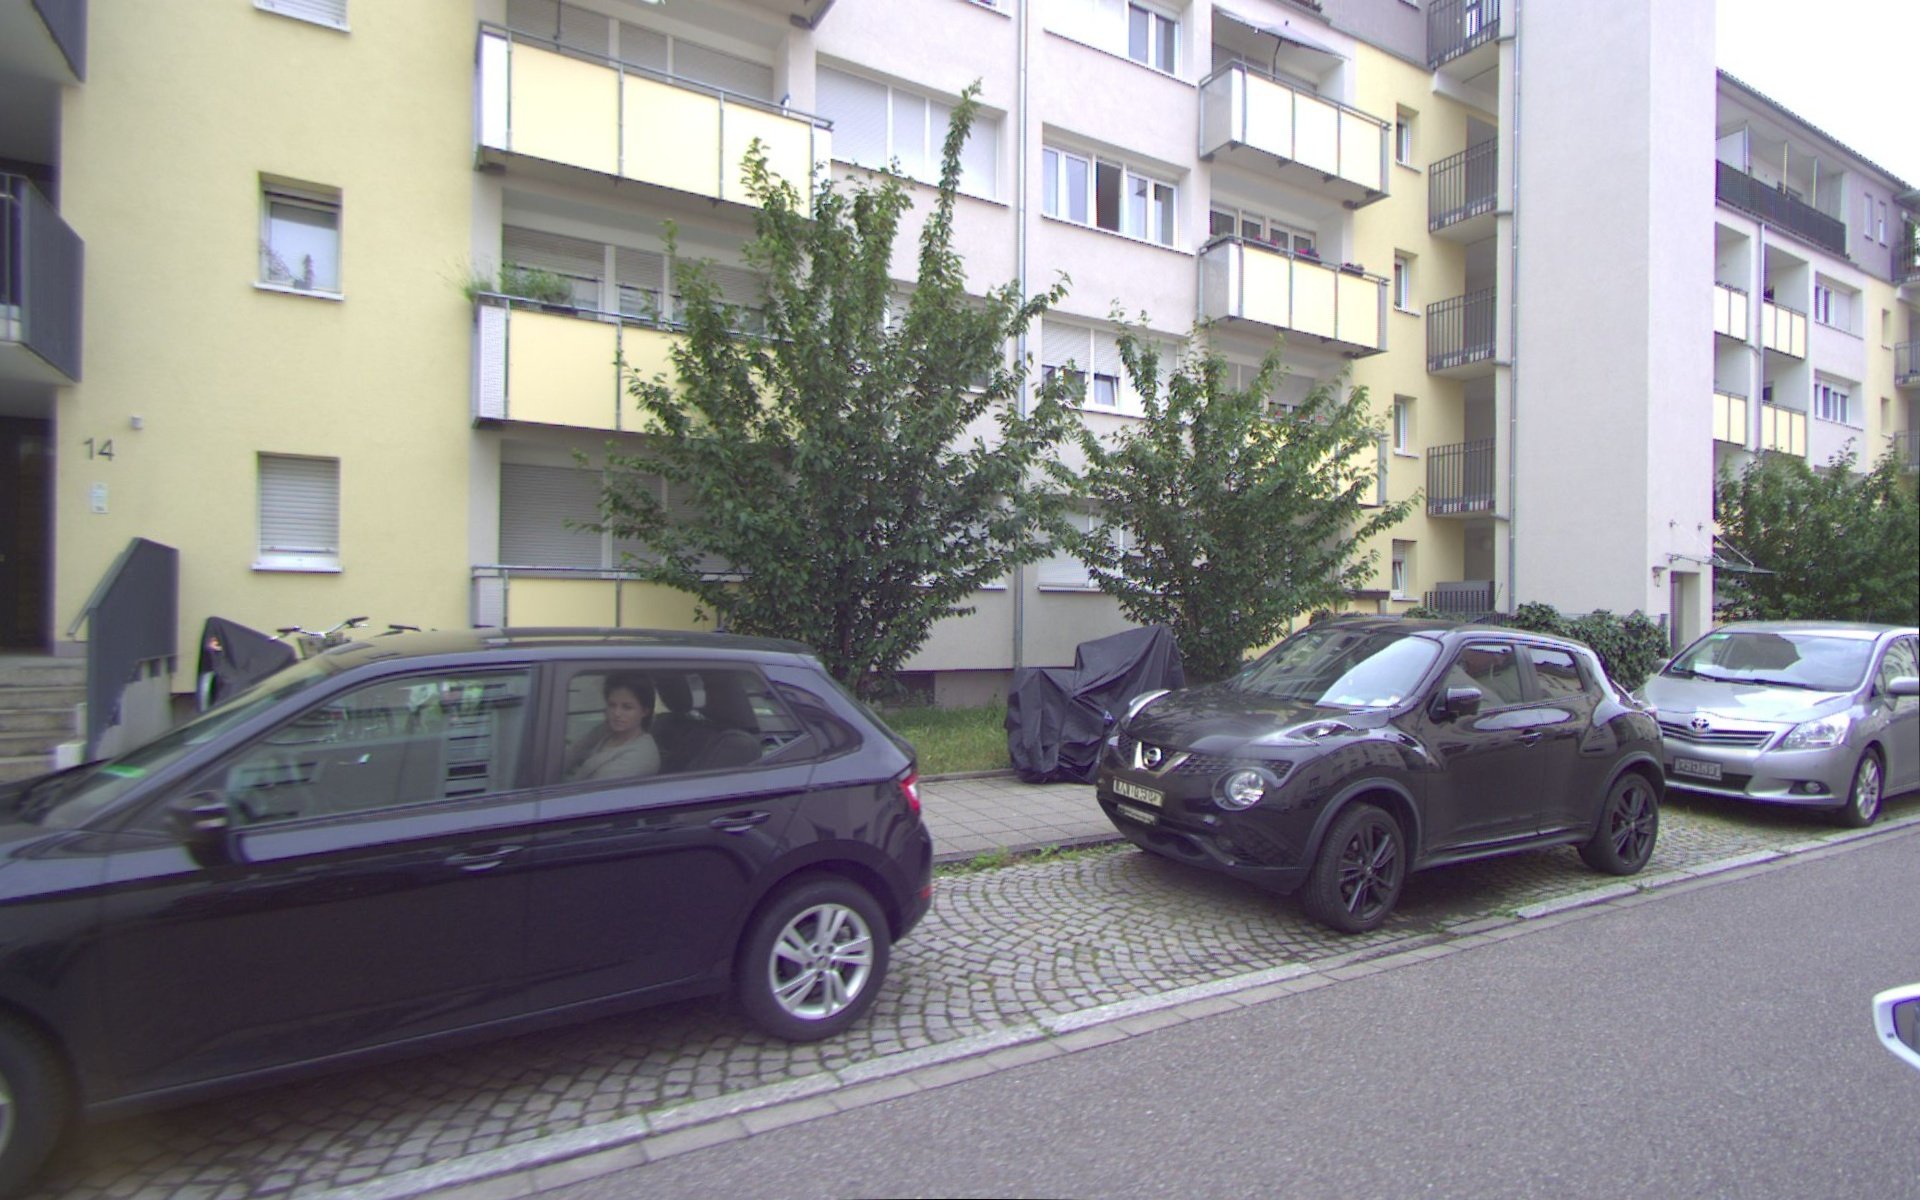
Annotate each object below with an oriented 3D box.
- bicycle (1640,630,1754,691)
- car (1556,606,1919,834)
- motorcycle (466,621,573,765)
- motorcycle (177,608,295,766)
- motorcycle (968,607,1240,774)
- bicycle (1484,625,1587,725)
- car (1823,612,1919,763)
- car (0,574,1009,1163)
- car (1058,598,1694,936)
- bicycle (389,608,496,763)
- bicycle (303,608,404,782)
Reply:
[{"bbox_3d":[15.158,1.219,20.699,0.563,1.133,1.827,1,0,-28],"label":"bicycle"},{"bbox_3d":[7.773,0.922,9.371,4.809,1.591,1.824,1,1,-33],"label":"car"},{"bbox_3d":[-3.922,0.758,8.870,0.587,1.144,1.738,1,-1,-33],"label":"motorcycle"},{"bbox_3d":[-5.818,0.651,8.146,0.683,1.144,1.605,1,-1,-33],"label":"motorcycle"},{"bbox_3d":[1.327,0.751,9.063,2.391,1.324,0.865,1,1,-30],"label":"motorcycle"},{"bbox_3d":[7.423,0.939,12.936,1.712,1.207,0.547,1,-1,-38],"label":"bicycle"},{"bbox_3d":[12.126,1.002,11.851,4.007,1.591,1.712,1,1,-31],"label":"car"},{"bbox_3d":[-1.866,0.689,3.788,3.811,1.458,1.635,1,1,-31],"label":"car"},{"bbox_3d":[2.694,0.828,6.379,3.846,1.551,1.646,1,1,-28],"label":"car"},{"bbox_3d":[-4.396,0.656,8.472,0.602,1.157,1.712,1,0,-34],"label":"bicycle"},{"bbox_3d":[-4.883,0.688,8.041,0.602,1.241,1.712,1,-1,-34],"label":"bicycle"}]
